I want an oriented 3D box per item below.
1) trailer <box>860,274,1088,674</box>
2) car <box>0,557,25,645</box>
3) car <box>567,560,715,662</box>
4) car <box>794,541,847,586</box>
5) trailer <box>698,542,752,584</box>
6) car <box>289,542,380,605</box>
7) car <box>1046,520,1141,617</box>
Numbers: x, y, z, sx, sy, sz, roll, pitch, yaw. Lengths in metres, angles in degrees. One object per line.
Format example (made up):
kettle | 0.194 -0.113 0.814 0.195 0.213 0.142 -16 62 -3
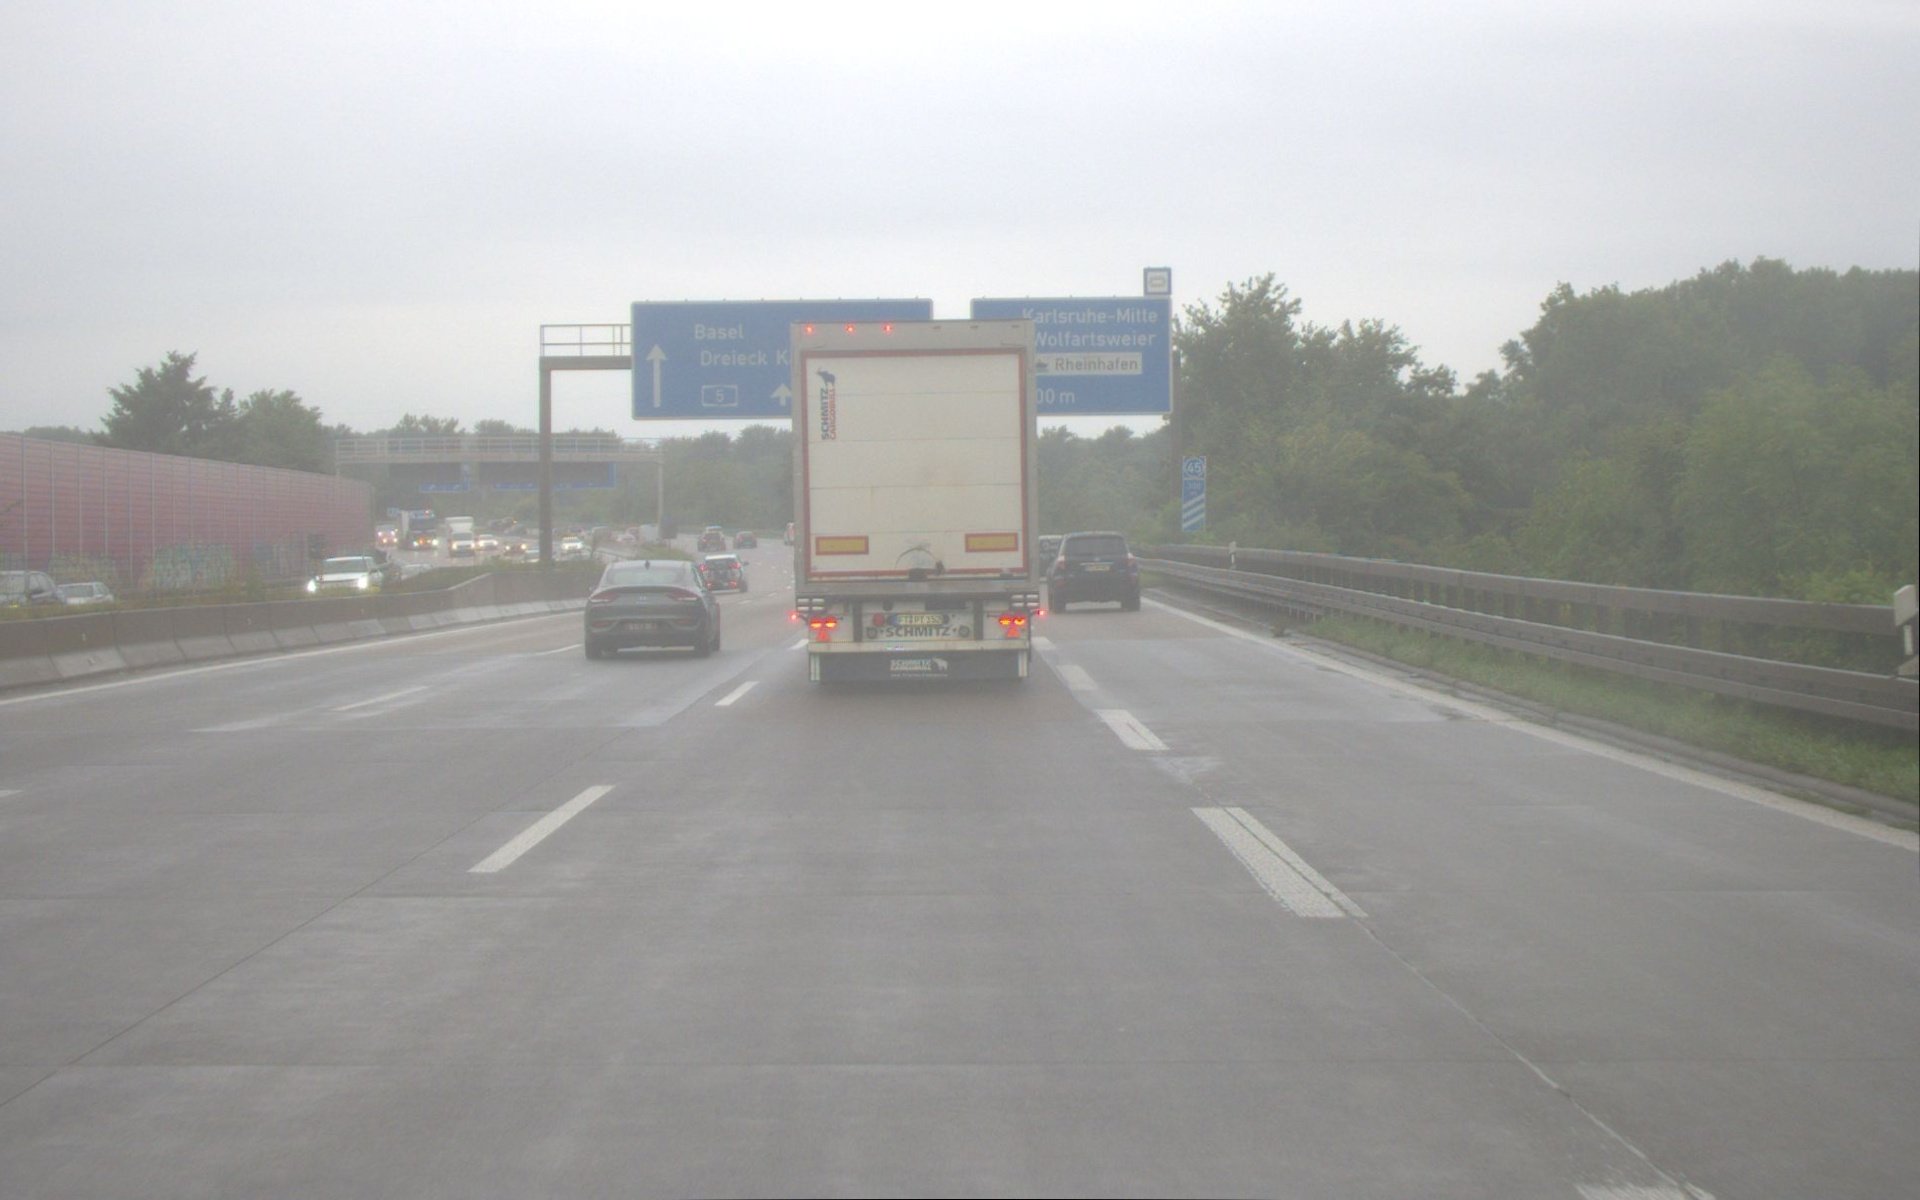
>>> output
trailer | 0.159 -1.539 43.311 2.342 4.143 14.828 1 2 0
car | -19.975 0.046 67.772 1.993 1.718 4.000 -1 1 0
car | -4.674 0.128 50.980 1.725 1.398 4.829 1 1 0
car | -5.482 -1.437 135.798 1.894 1.717 4.000 1 1 0
trailer | -9.355 -1.486 137.251 1.815 1.619 4.568 1 1 0
car | -20.956 -0.922 115.400 1.993 2.007 5.807 2 1 -1
car | 2.811 -0.686 73.009 1.897 1.943 4.000 2 1 1
